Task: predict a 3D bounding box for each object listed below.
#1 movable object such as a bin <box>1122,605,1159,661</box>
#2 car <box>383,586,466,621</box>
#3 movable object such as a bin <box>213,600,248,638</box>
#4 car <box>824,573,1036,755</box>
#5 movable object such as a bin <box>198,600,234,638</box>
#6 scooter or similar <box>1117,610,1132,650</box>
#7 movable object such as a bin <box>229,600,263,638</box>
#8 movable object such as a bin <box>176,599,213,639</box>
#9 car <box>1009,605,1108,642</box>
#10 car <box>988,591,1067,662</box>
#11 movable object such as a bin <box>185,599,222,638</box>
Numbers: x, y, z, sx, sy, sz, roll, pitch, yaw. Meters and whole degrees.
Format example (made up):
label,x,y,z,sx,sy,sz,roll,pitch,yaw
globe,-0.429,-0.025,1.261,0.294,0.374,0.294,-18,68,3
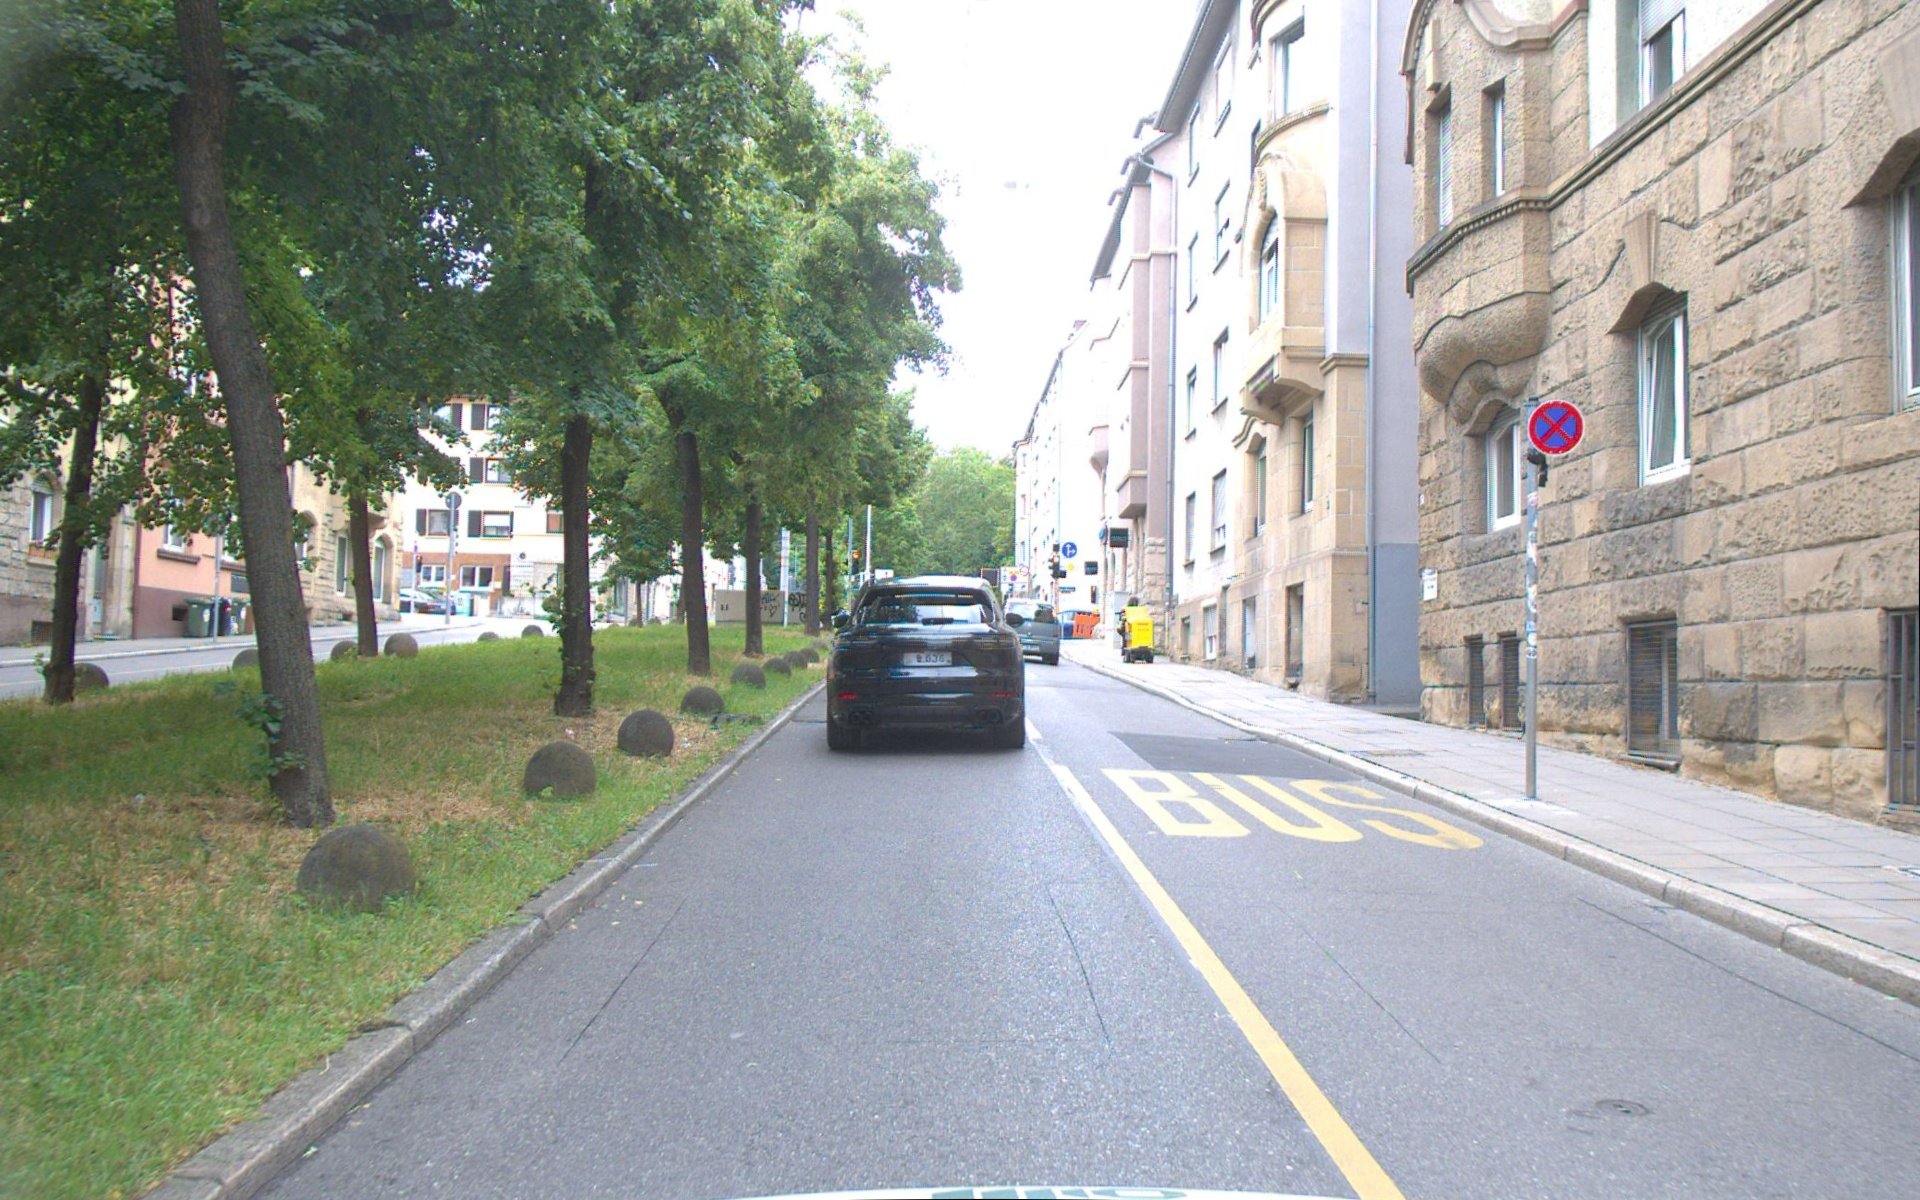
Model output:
label,x,y,z,sx,sy,sz,roll,pitch,yaw
movable object such as a bin,4.727,0.875,43.496,0.705,1.446,1.692,0,-1,-3
car,-26.817,0.203,82.783,3.915,1.694,1.877,0,-2,32
movable object such as a bin,-18.298,0.468,41.505,0.597,0.920,0.601,2,-1,-5
car,-0.286,0.582,17.295,1.953,1.682,4.000,0,0,0
movable object such as a bin,-18.298,0.460,40.684,0.597,0.920,0.601,2,-1,-5
scooter or similar,5.087,0.920,51.162,0.392,1.209,1.355,0,1,3
movable object such as a bin,-18.227,0.481,42.239,0.597,0.920,0.601,2,-1,-5
movable object such as a bin,-18.206,0.448,39.343,0.597,0.920,0.601,2,-1,-5
car,4.418,1.043,73.870,4.116,1.537,1.801,2,0,15
car,1.721,0.681,43.451,1.717,1.620,3.629,5,-1,-1
movable object such as a bin,-18.277,0.452,39.973,0.597,0.920,0.601,2,-1,-5
